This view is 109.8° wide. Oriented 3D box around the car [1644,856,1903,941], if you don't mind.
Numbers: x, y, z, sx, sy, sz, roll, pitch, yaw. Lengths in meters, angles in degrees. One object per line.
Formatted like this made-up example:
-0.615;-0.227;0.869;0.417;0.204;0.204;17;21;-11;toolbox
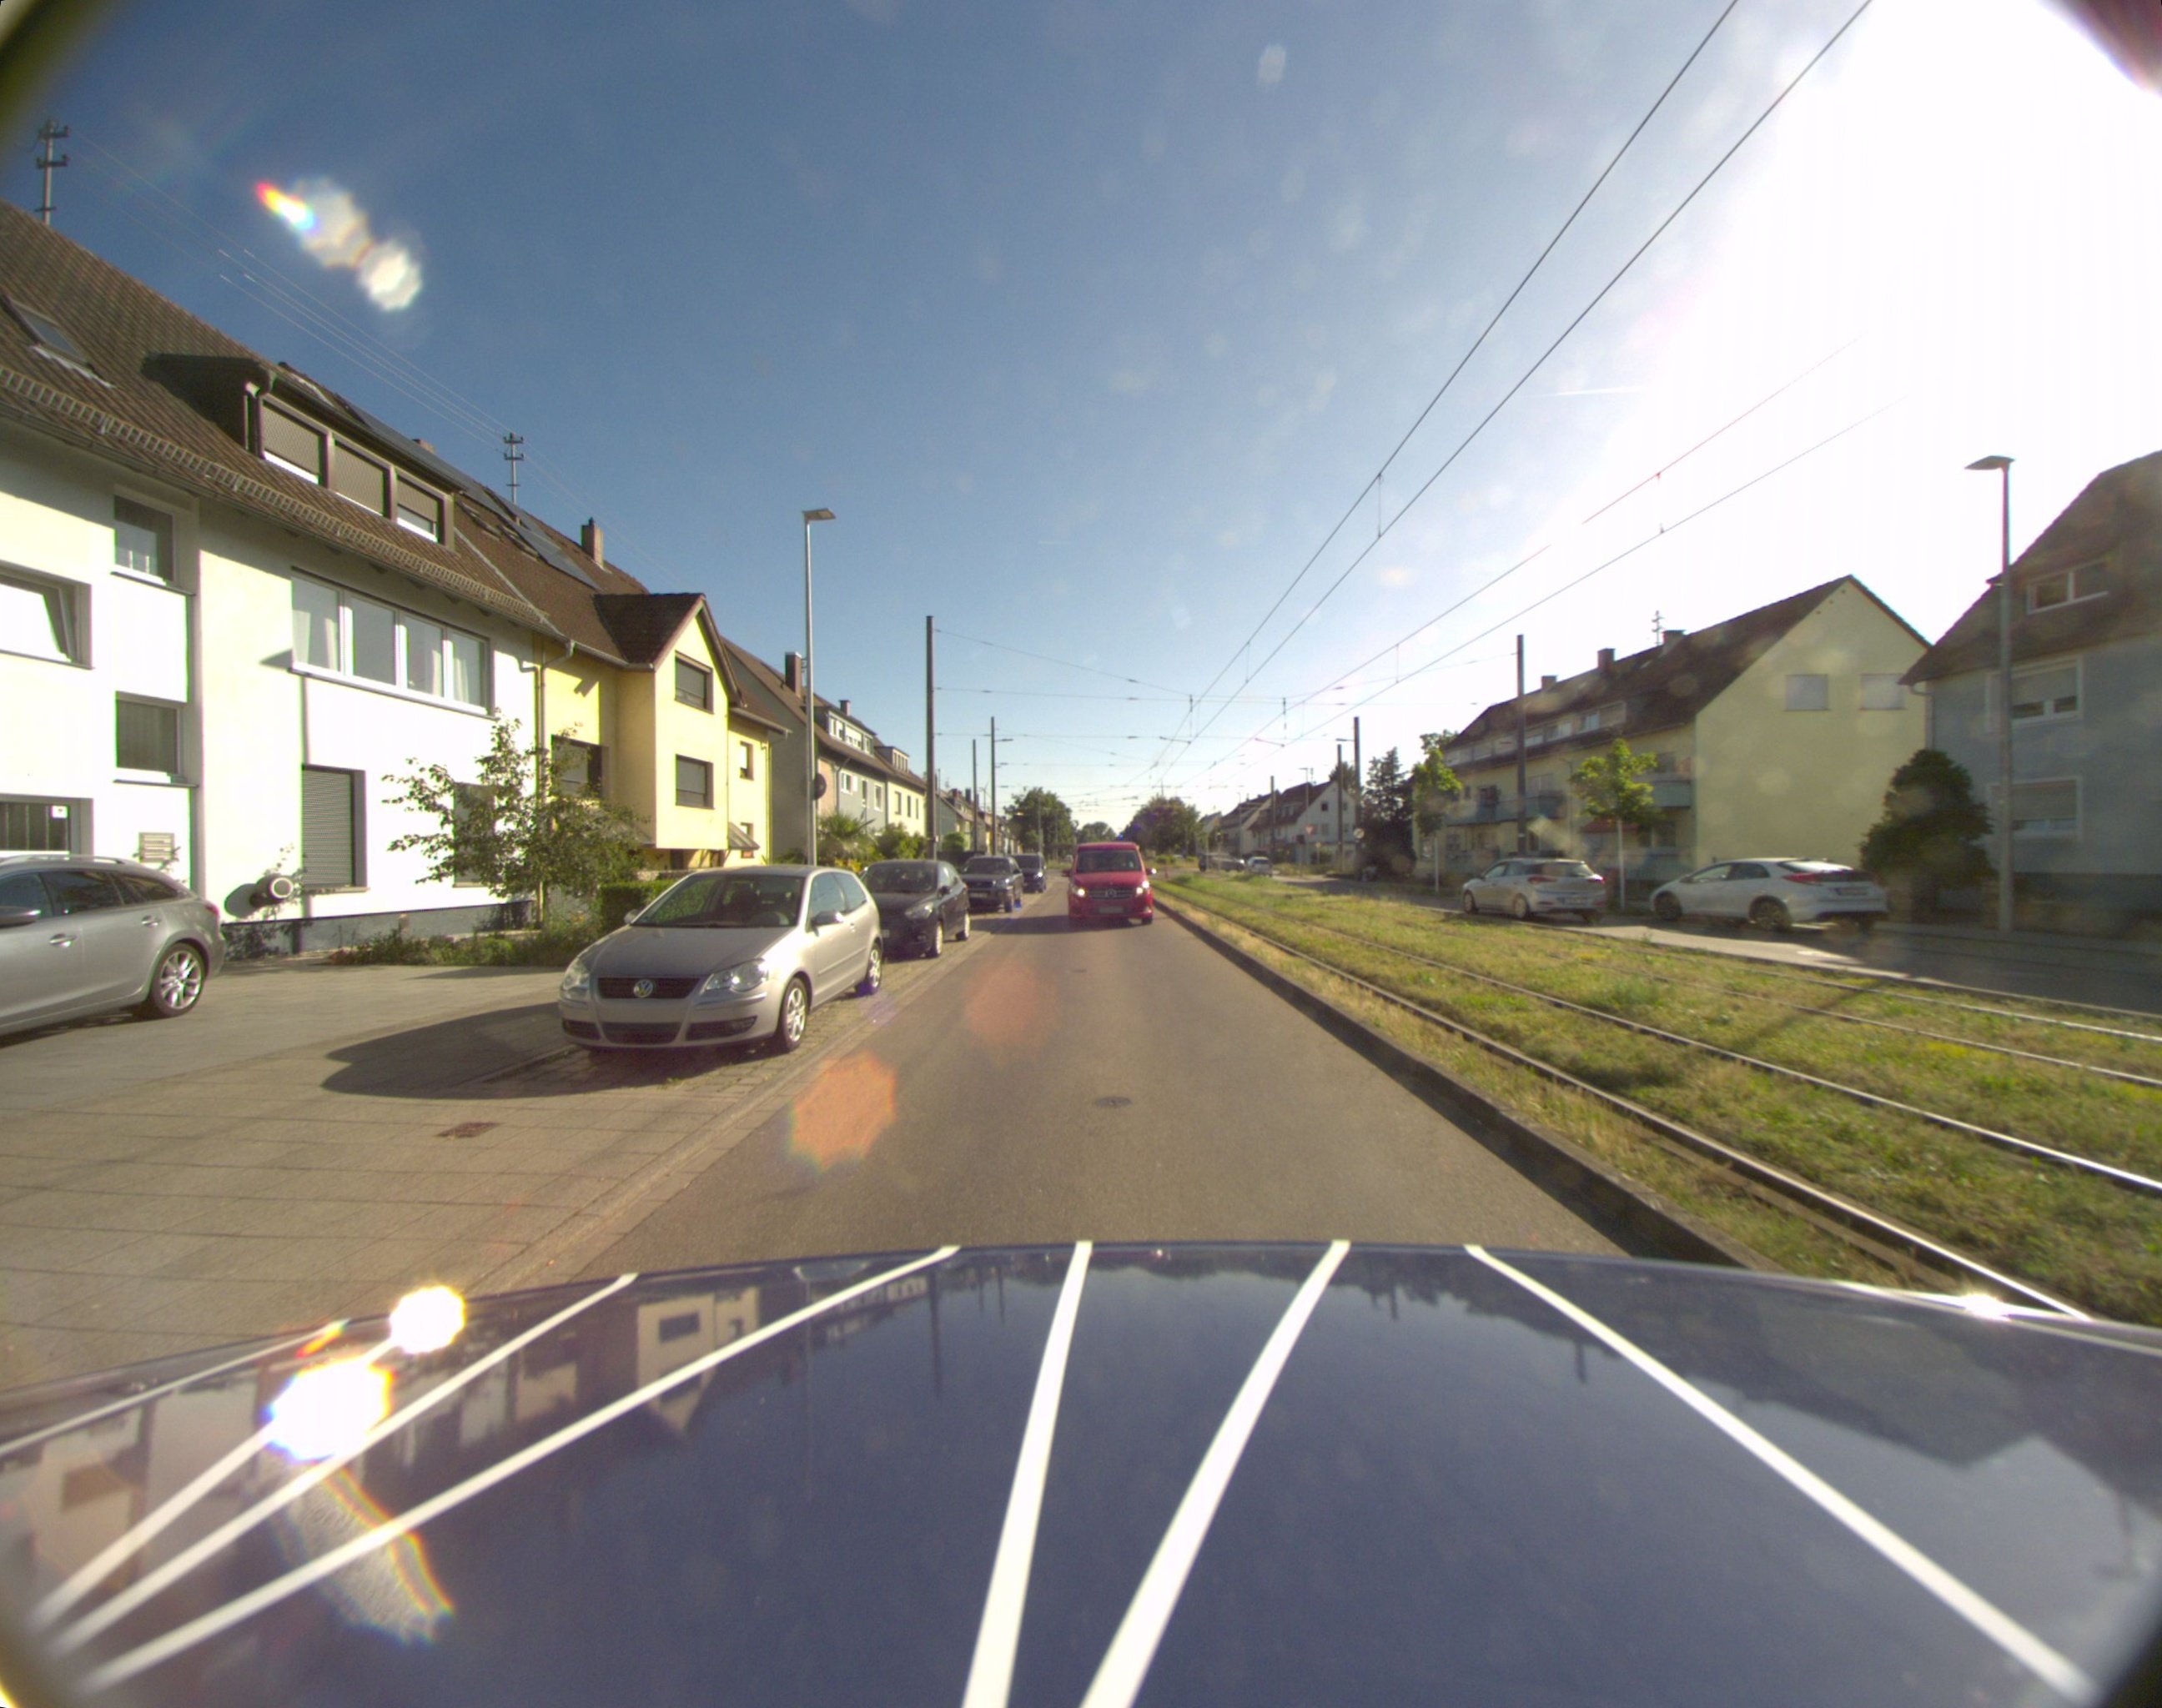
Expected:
14.202;0.819;15.982;1.696;1.509;4.214;0;0;2;car

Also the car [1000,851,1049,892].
-2.689;0.801;37.353;1.966;1.825;4.927;0;0;1;car

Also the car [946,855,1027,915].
-2.796;0.874;23.445;1.859;1.649;4.473;0;0;1;car

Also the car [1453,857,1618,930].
10.859;0.866;18.526;1.712;1.482;4.023;0;1;2;car

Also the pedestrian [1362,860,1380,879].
17.308;0.913;45.306;0.821;1.059;0.625;-2;3;-32;pedestrian

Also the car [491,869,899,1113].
-3.068;0.947;7.228;1.620;1.466;4.448;0;1;0;car

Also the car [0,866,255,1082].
-8.568;0.842;5.316;2.003;1.437;4.872;0;0;-24;car

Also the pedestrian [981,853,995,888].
-4.633;0.799;37.932;0.584;1.713;0.714;0;1;2;pedestrian

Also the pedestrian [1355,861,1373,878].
17.208;0.930;46.165;0.819;1.040;0.687;-1;1;-2;pedestrian

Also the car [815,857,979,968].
-2.911;0.847;12.860;1.670;1.538;3.836;1;0;2;car

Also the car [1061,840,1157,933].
0.542;0.692;19.059;1.999;1.970;5.236;-1;0;-2;car

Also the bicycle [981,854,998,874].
-4.615;0.494;38.347;0.602;0.974;1.562;1;1;3;bicycle

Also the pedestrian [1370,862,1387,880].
17.459;1.007;44.616;0.725;1.000;0.594;-1;2;-23;pedestrian

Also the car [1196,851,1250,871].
11.937;0.592;63.939;4.001;1.570;1.829;-1;0;-11;car

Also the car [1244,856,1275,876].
12.985;0.846;55.366;1.553;1.403;3.659;0;0;2;car
